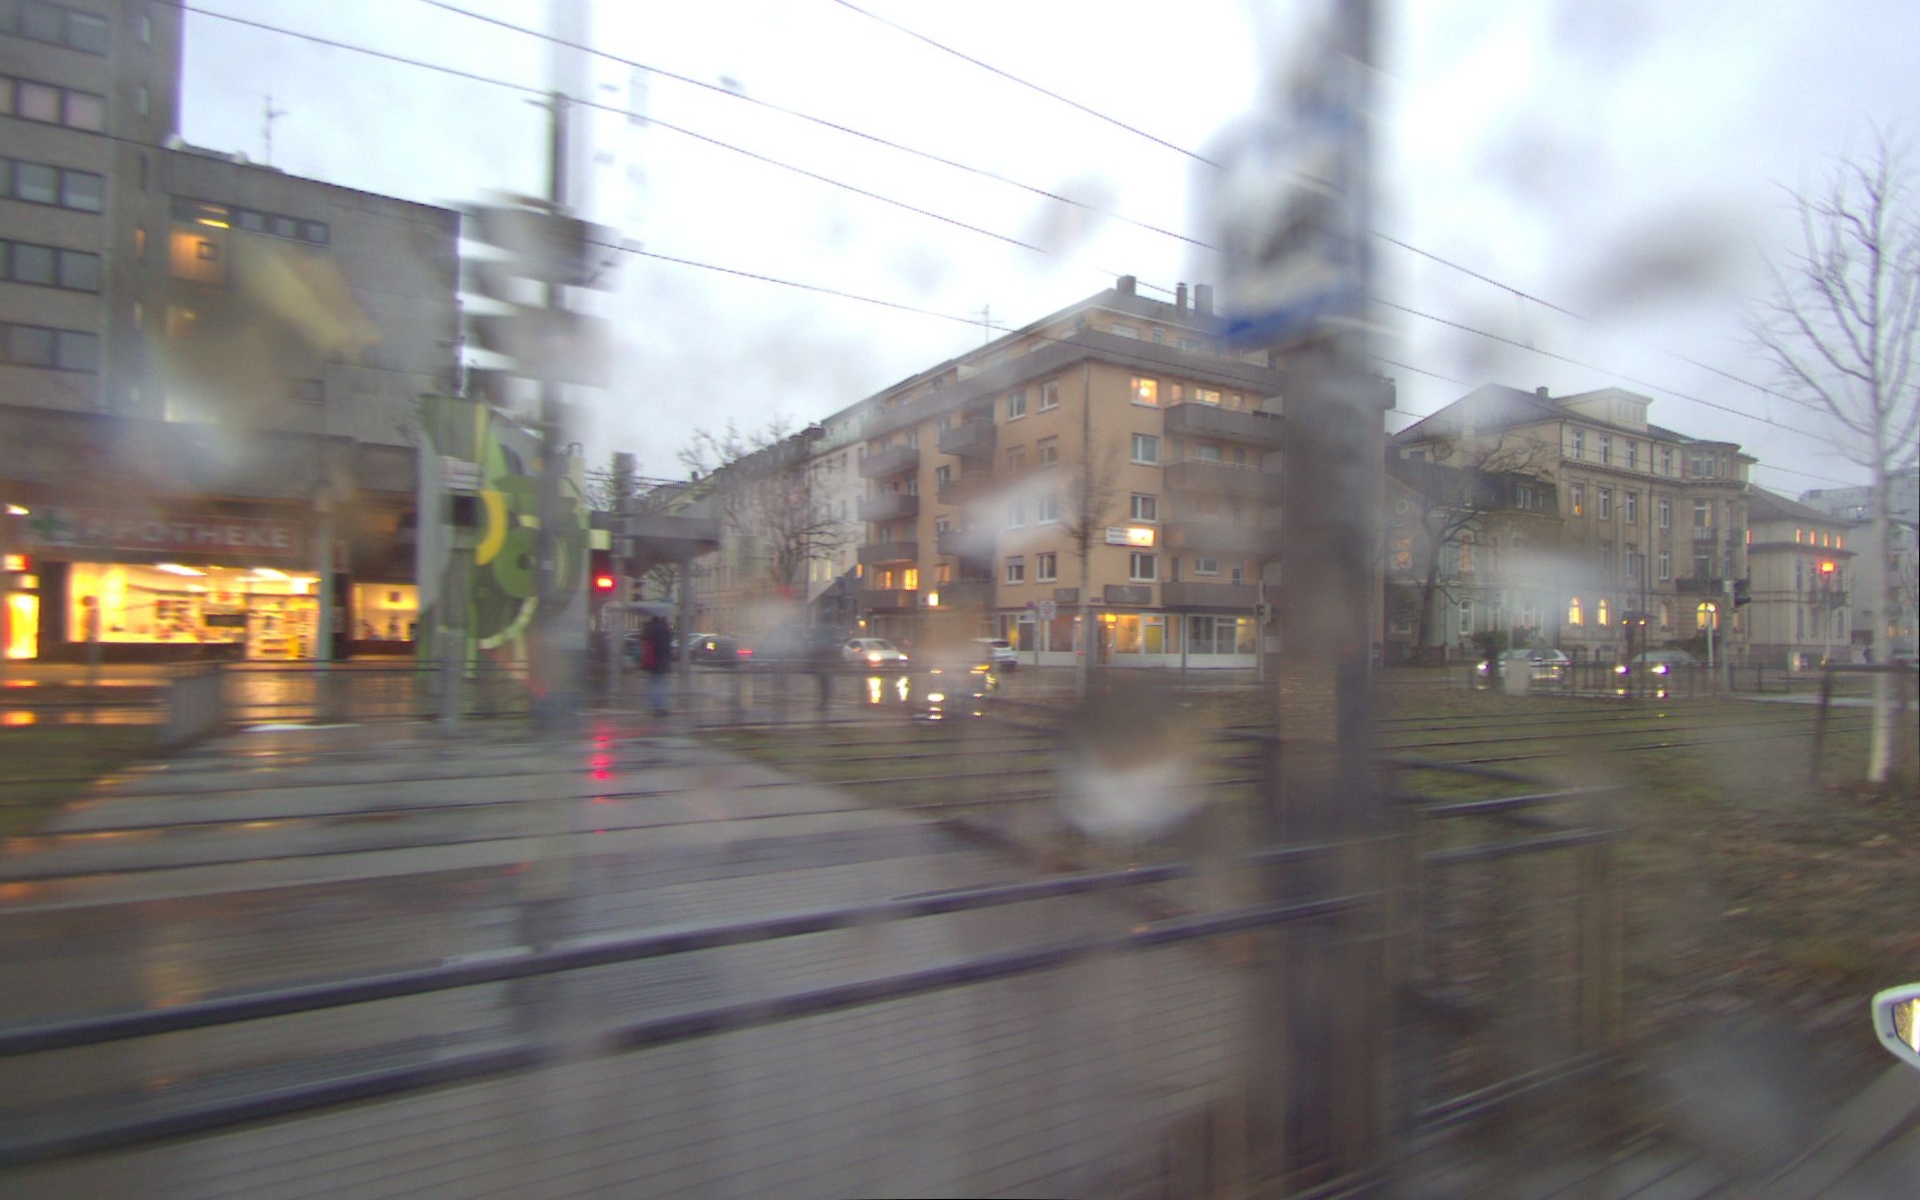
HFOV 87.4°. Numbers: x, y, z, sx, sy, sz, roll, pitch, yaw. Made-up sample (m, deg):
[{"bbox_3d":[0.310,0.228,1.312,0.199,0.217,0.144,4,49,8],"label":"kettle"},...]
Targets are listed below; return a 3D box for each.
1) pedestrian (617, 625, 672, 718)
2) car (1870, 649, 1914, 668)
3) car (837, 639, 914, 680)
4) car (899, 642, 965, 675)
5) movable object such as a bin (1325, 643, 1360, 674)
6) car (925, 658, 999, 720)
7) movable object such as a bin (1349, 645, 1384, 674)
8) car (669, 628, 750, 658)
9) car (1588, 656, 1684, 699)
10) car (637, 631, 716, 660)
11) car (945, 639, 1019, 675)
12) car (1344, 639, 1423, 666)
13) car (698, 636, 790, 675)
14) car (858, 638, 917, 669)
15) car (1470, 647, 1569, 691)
[{"bbox_3d":[-5.319,1.180,16.920,0.625,1.509,0.784,2,-2,-37],"label":"pedestrian"},{"bbox_3d":[77.720,4.866,83.760,3.885,1.455,1.796,2,-3,-33],"label":"car"},{"bbox_3d":[-3.740,2.571,43.763,1.667,1.531,3.964,3,0,-33],"label":"car"},{"bbox_3d":[-1.455,2.969,51.480,1.738,1.572,3.806,2,-2,-31],"label":"car"},{"bbox_3d":[19.753,3.010,51.863,1.410,1.581,1.101,2,-2,-33],"label":"movable object such as a bin"},{"bbox_3d":[0.146,2.664,30.994,1.960,1.565,4.706,1,-2,4],"label":"car"},{"bbox_3d":[21.329,3.109,52.733,1.410,1.500,1.101,2,-2,-33],"label":"movable object such as a bin"},{"bbox_3d":[-12.531,2.167,50.253,3.542,1.439,1.712,2,-2,-34],"label":"car"},{"bbox_3d":[28.065,3.217,41.670,3.955,1.606,1.792,3,0,-31],"label":"car"},{"bbox_3d":[-14.667,2.353,51.915,3.542,1.439,1.822,2,-2,-34],"label":"car"},{"bbox_3d":[0.998,2.652,47.319,1.758,1.572,3.806,2,-2,-31],"label":"car"},{"bbox_3d":[24.769,3.065,58.843,1.813,1.425,3.966,2,-2,-31],"label":"car"},{"bbox_3d":[-9.431,2.416,43.862,3.596,1.622,1.609,2,-2,-30],"label":"car"},{"bbox_3d":[-4.061,2.968,55.870,1.738,1.572,3.806,2,-2,-31],"label":"car"},{"bbox_3d":[22.873,2.810,41.021,3.955,1.606,1.792,3,0,-31],"label":"car"}]
